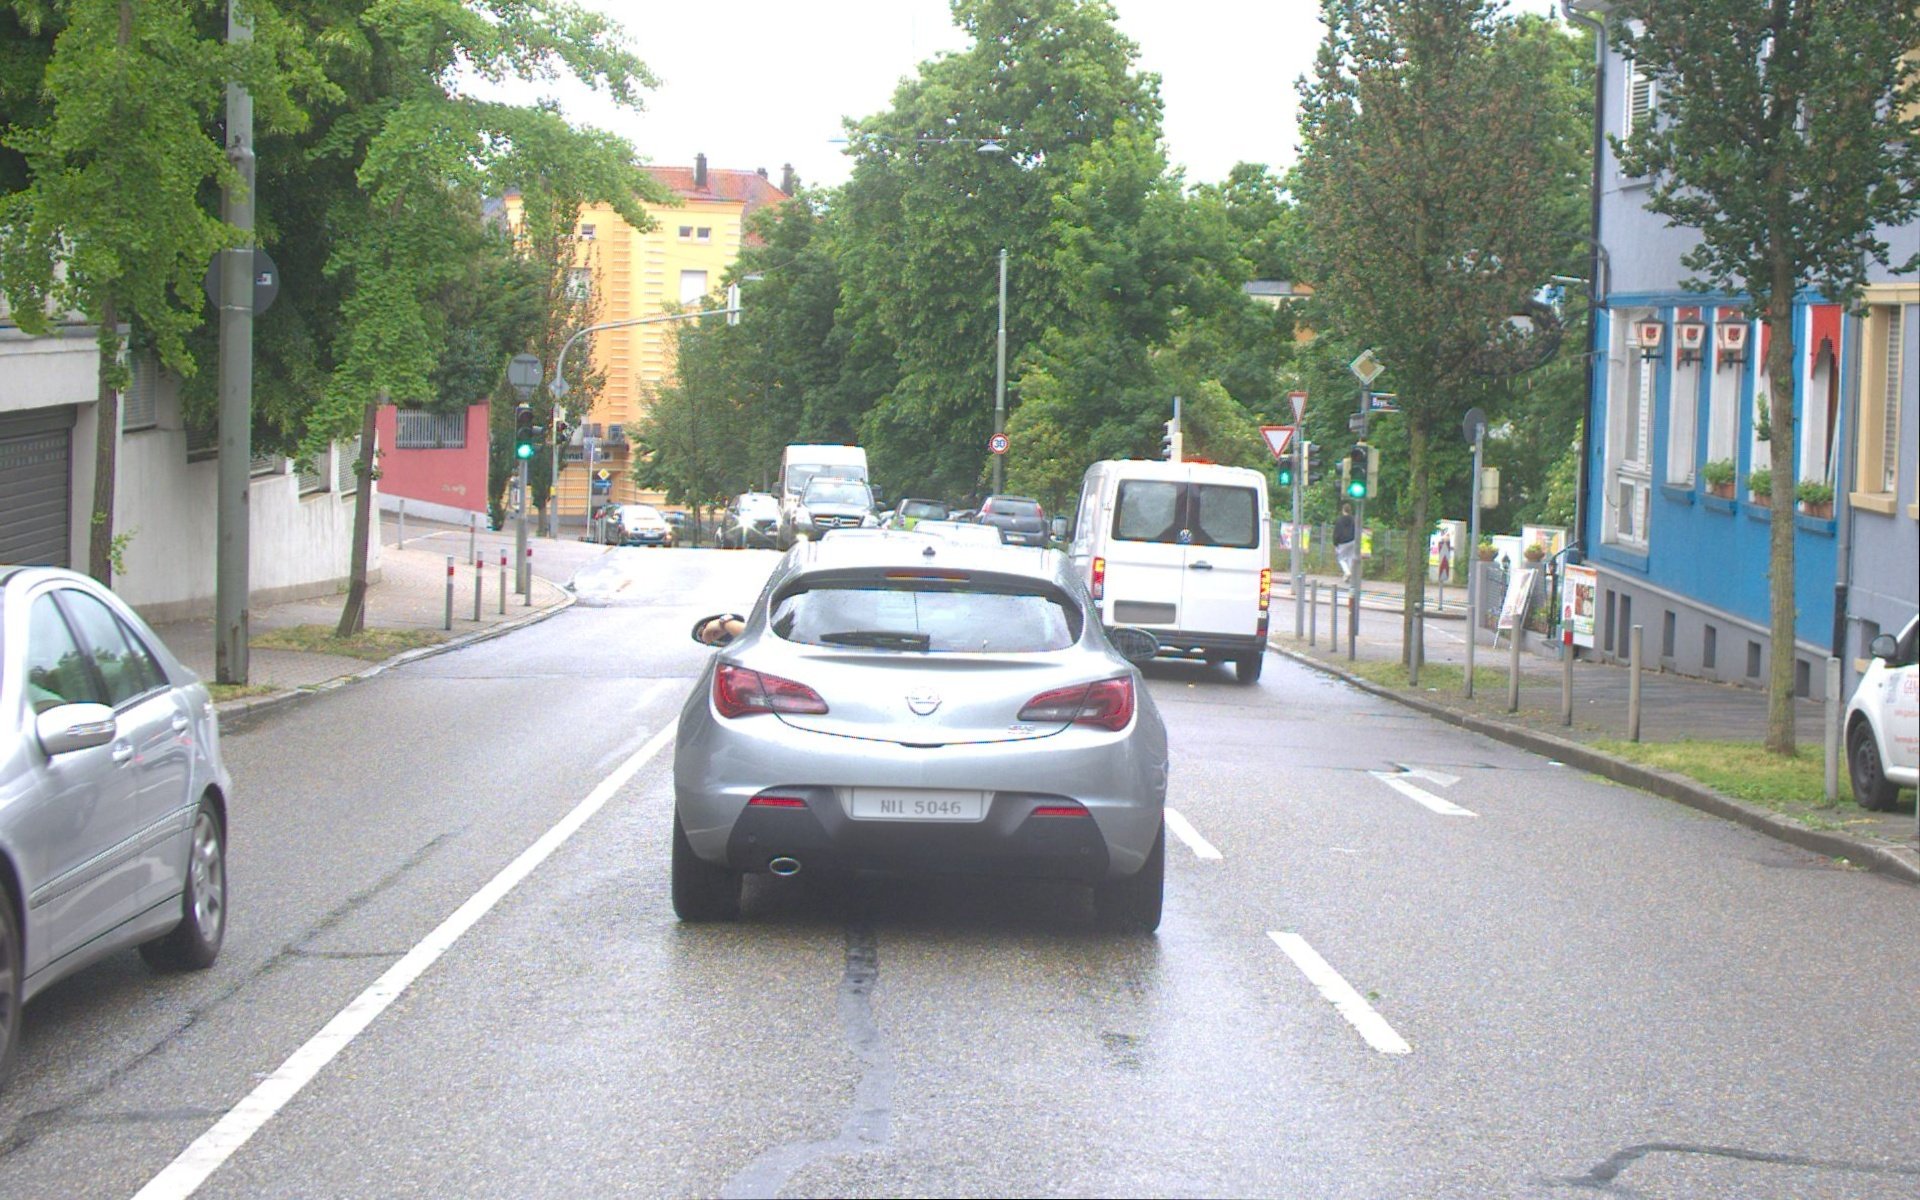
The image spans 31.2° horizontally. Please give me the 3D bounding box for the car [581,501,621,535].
[{"bbox_3d":[-17.347,-3.975,166.183,1.776,1.425,3.787,4,2,-5],"label":"car"}]

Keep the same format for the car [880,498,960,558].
[{"bbox_3d":[-1.075,-1.873,90.413,1.620,1.481,3.437,2,1,-8],"label":"car"}]

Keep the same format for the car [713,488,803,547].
[{"bbox_3d":[-5.800,-2.353,98.208,1.874,1.569,4.588,2,1,-11],"label":"car"}]

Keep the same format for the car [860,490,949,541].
[{"bbox_3d":[-1.781,-2.659,108.811,1.814,1.490,4.001,-3,2,-15],"label":"car"}]

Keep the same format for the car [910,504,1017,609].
[{"bbox_3d":[0.026,-0.649,49.291,1.383,1.407,3.457,2,2,-2],"label":"car"}]

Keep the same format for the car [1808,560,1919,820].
[{"bbox_3d":[6.111,0.517,19.277,1.586,1.407,3.457,0,2,-5],"label":"car"}]

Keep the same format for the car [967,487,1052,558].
[{"bbox_3d":[1.083,-1.715,76.700,1.620,1.481,3.436,2,1,-3],"label":"car"}]

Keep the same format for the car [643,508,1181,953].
[{"bbox_3d":[-0.197,0.407,14.056,1.815,1.425,4.001,3,2,-1],"label":"car"}]

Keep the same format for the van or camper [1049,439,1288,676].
[{"bbox_3d":[2.240,-0.512,38.560,2.103,2.318,5.418,4,1,-1],"label":"van or camper"}]

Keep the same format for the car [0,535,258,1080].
[{"bbox_3d":[-3.377,0.537,10.230,1.719,1.380,4.285,-2,2,-1],"label":"car"}]

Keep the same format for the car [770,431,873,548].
[{"bbox_3d":[-3.255,-2.539,79.758,2.117,2.537,5.541,2,1,-4],"label":"car"}]

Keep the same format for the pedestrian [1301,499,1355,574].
[{"bbox_3d":[7.969,-1.383,74.486,0.765,1.600,0.966,-1,1,-26],"label":"pedestrian"}]

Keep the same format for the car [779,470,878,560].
[{"bbox_3d":[-2.708,-1.764,70.109,1.821,1.646,4.347,4,2,-3],"label":"car"}]

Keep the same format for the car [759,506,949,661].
[{"bbox_3d":[-1.048,-0.190,34.828,1.776,1.425,3.786,2,1,-1],"label":"car"}]

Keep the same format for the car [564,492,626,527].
[{"bbox_3d":[-16.570,-4.098,155.915,1.814,1.462,4.001,-3,2,-20],"label":"car"}]

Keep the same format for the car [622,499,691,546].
[{"bbox_3d":[-10.483,-2.664,118.518,1.773,1.492,4.264,3,1,-12],"label":"car"}]
